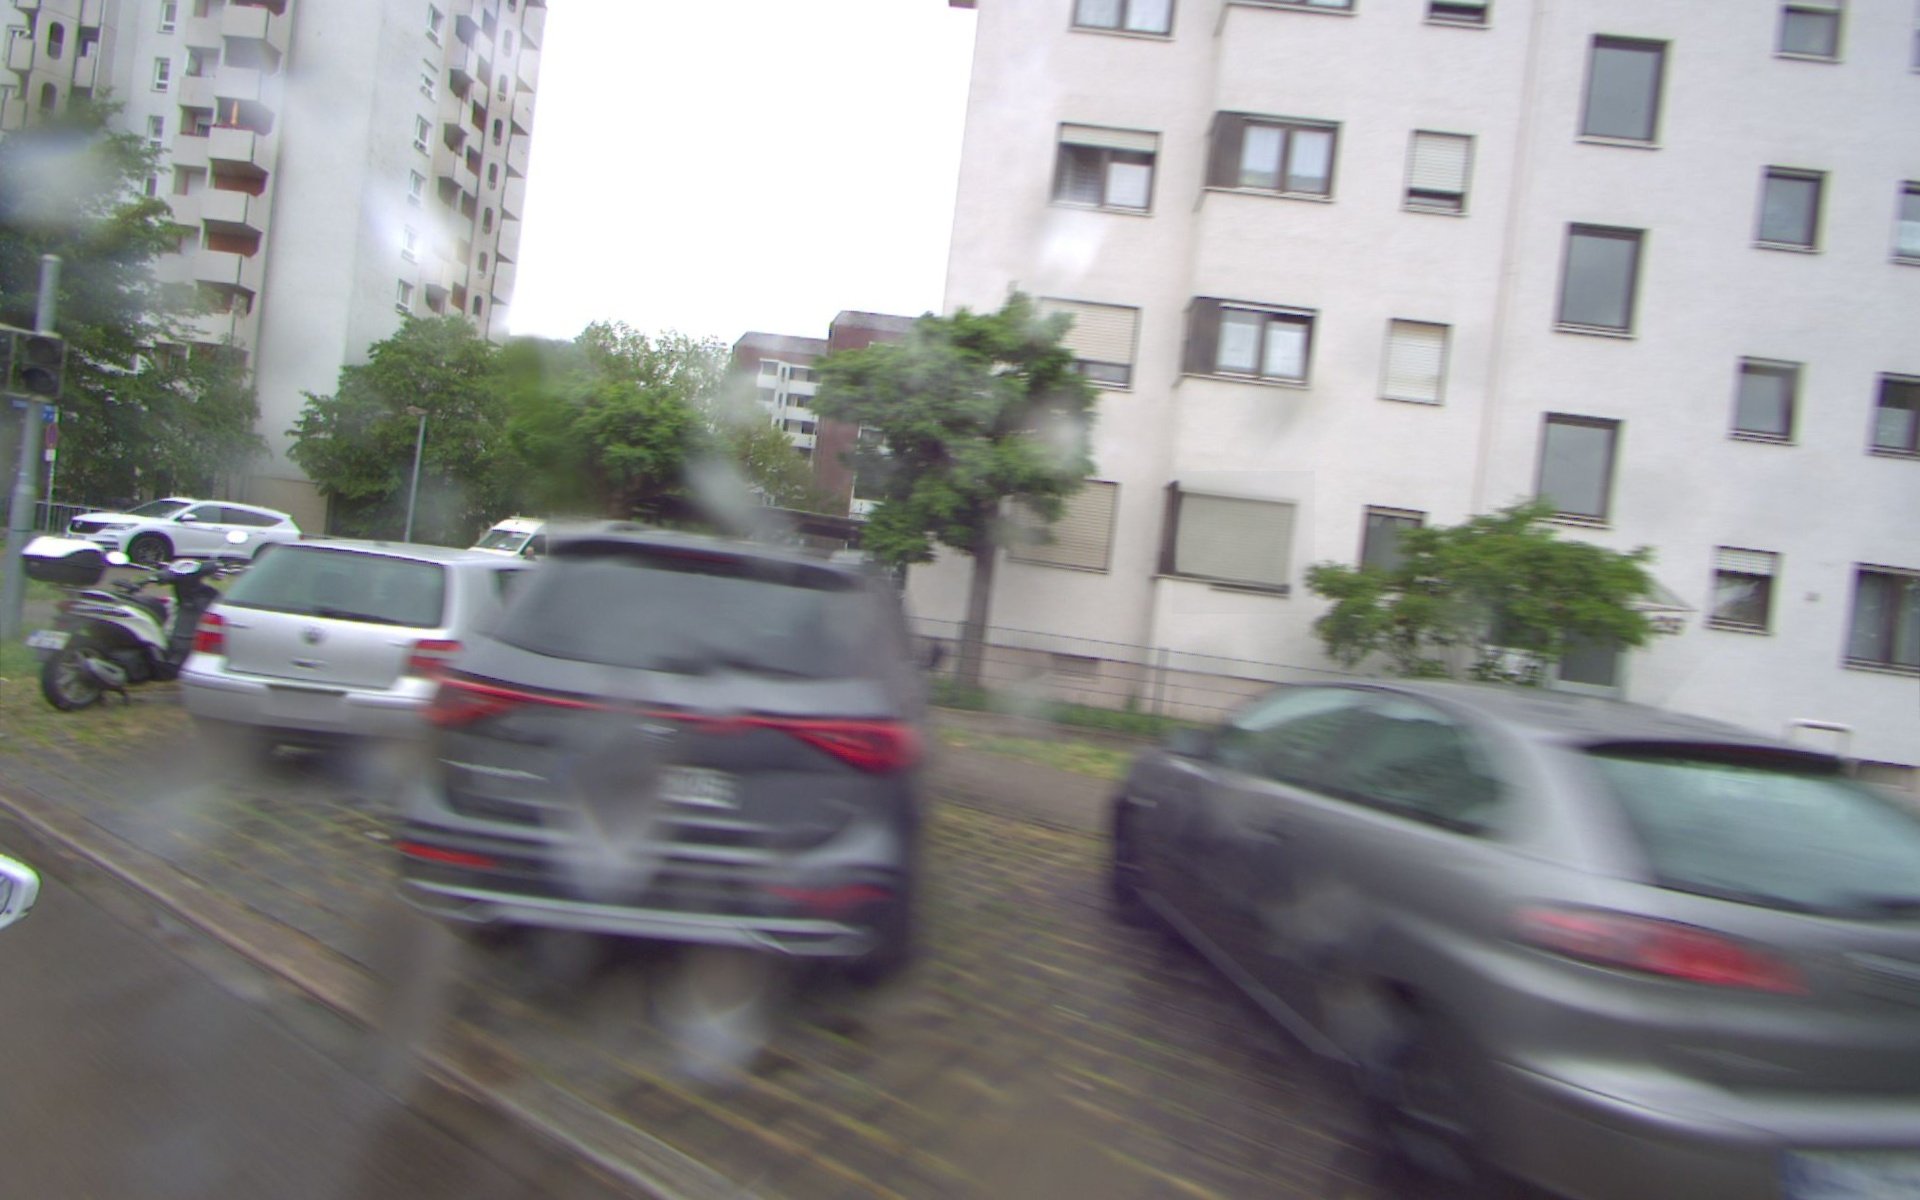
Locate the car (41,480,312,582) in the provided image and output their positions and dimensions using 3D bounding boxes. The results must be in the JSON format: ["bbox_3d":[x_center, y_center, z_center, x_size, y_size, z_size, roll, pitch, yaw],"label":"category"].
[{"bbox_3d":[-18.778,-1.575,24.445,1.962,1.766,4.820,7,-1,18],"label":"car"}]

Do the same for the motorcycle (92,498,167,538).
[{"bbox_3d":[-34.941,-3.439,42.343,2.261,1.305,0.884,7,1,-4],"label":"motorcycle"}]

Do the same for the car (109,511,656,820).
[{"bbox_3d":[-3.656,0.328,7.363,1.707,1.441,4.121,7,1,-4],"label":"car"}]

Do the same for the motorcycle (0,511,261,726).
[{"bbox_3d":[-6.217,0.109,7.539,0.677,1.353,1.778,7,1,-4],"label":"motorcycle"}]

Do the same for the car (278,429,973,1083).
[{"bbox_3d":[-0.976,0.464,5.062,1.824,1.671,4.348,7,0,0],"label":"car"}]

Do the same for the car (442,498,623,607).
[{"bbox_3d":[-14.647,-1.515,34.996,2.090,3.000,6.078,7,-1,18],"label":"car"}]

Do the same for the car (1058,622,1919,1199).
[{"bbox_3d":[1.786,0.979,4.106,1.705,1.446,3.993,7,0,-8],"label":"car"}]

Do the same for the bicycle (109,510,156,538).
[{"bbox_3d":[-33.968,-3.126,41.300,1.439,0.937,0.408,7,1,-4],"label":"bicycle"}]

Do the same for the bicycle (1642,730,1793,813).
[{"bbox_3d":[10.329,2.326,13.753,1.542,0.858,0.491,7,1,6],"label":"bicycle"}]

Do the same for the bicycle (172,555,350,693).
[{"bbox_3d":[-6.515,0.179,9.508,0.619,1.116,1.951,6,1,-13],"label":"bicycle"}]

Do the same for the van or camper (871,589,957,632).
[{"bbox_3d":[-2.473,0.569,55.351,4.334,1.793,1.908,7,0,5],"label":"van or camper"}]

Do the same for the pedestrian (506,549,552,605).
[{"bbox_3d":[-13.250,-0.711,30.934,0.799,1.590,0.840,7,0,12],"label":"pedestrian"}]
